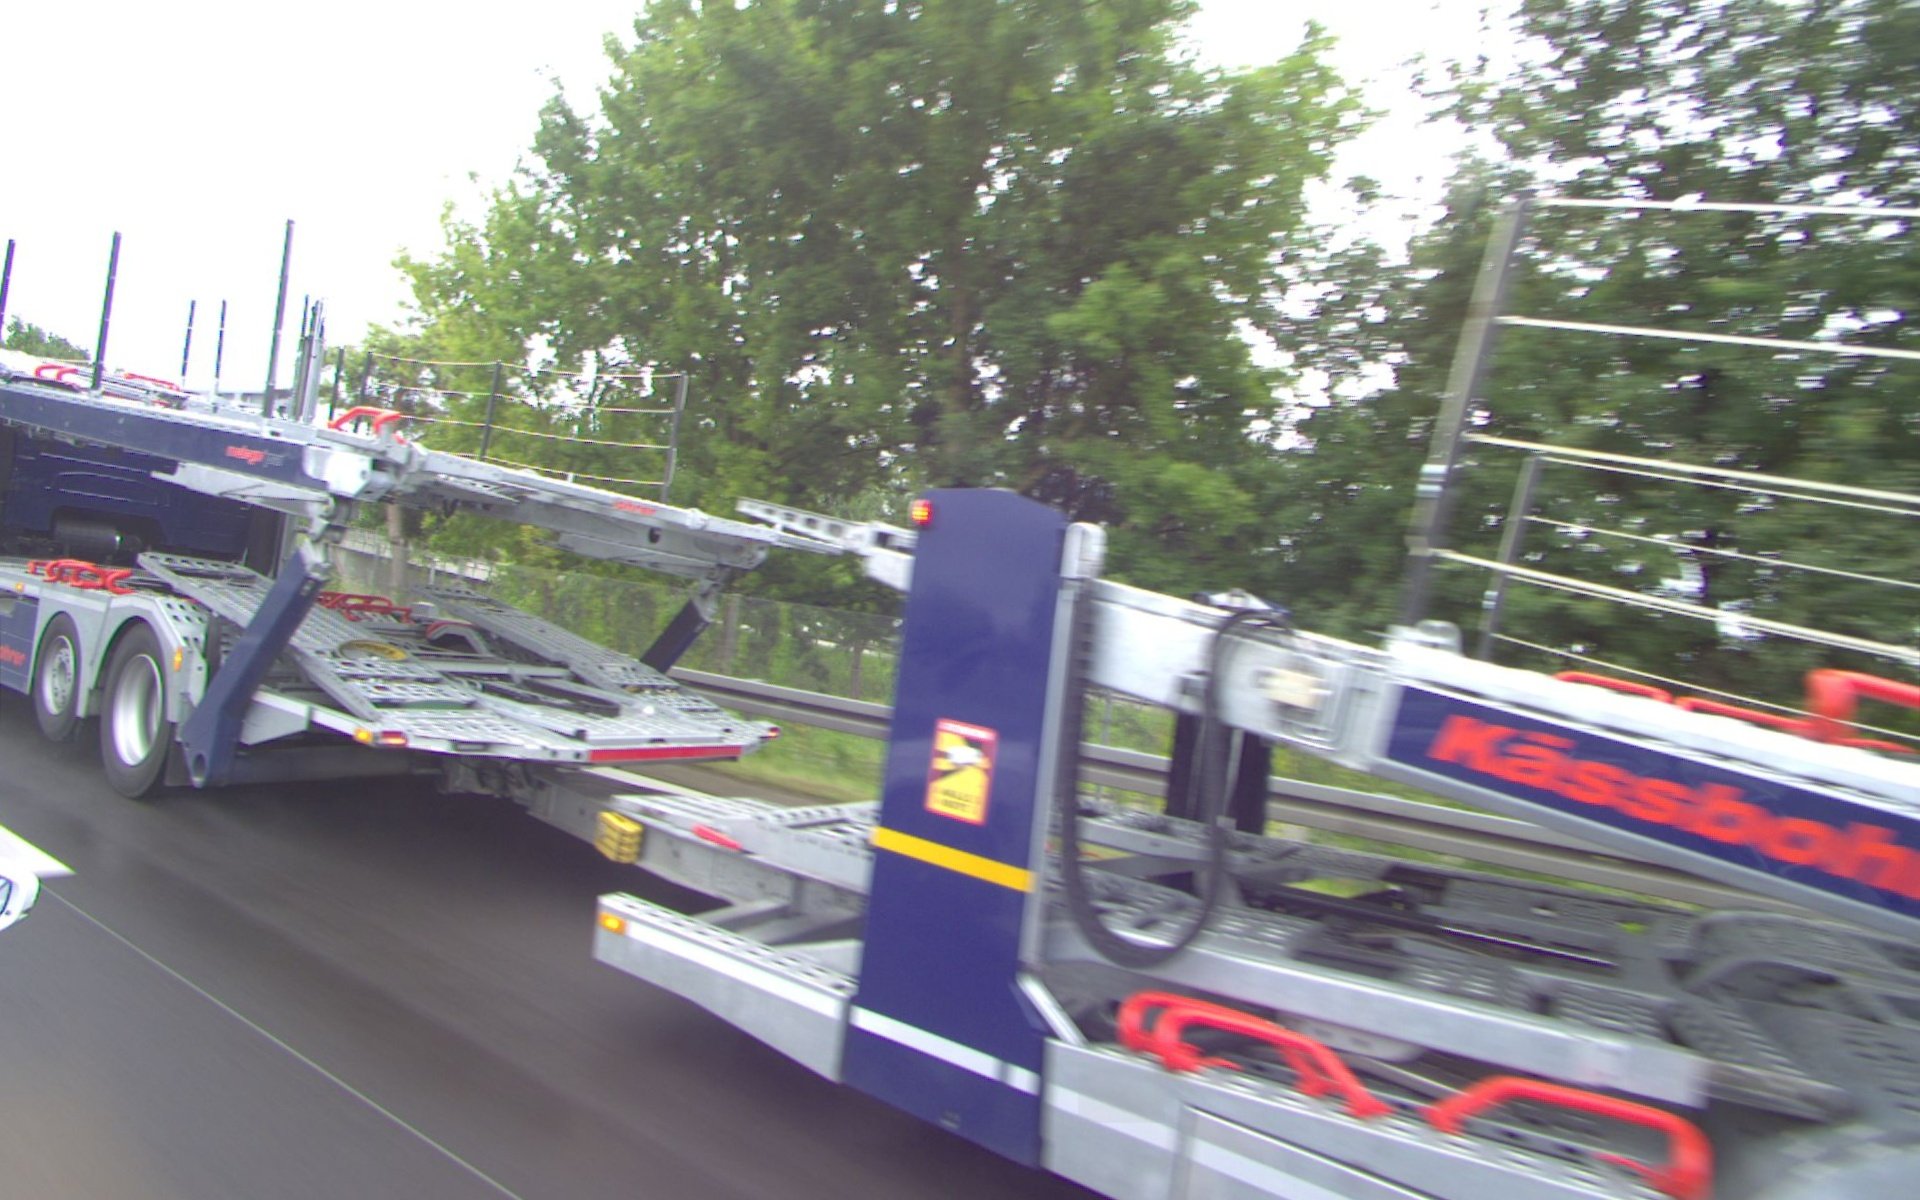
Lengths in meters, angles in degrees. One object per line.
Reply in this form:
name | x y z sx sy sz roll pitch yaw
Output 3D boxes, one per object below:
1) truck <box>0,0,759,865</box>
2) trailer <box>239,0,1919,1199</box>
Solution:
truck | -6.082 -1.114 8.095 8.978 4.015 2.742 7 -1 32
trailer | 2.179 0.197 2.796 10.233 3.324 2.782 7 -1 31
